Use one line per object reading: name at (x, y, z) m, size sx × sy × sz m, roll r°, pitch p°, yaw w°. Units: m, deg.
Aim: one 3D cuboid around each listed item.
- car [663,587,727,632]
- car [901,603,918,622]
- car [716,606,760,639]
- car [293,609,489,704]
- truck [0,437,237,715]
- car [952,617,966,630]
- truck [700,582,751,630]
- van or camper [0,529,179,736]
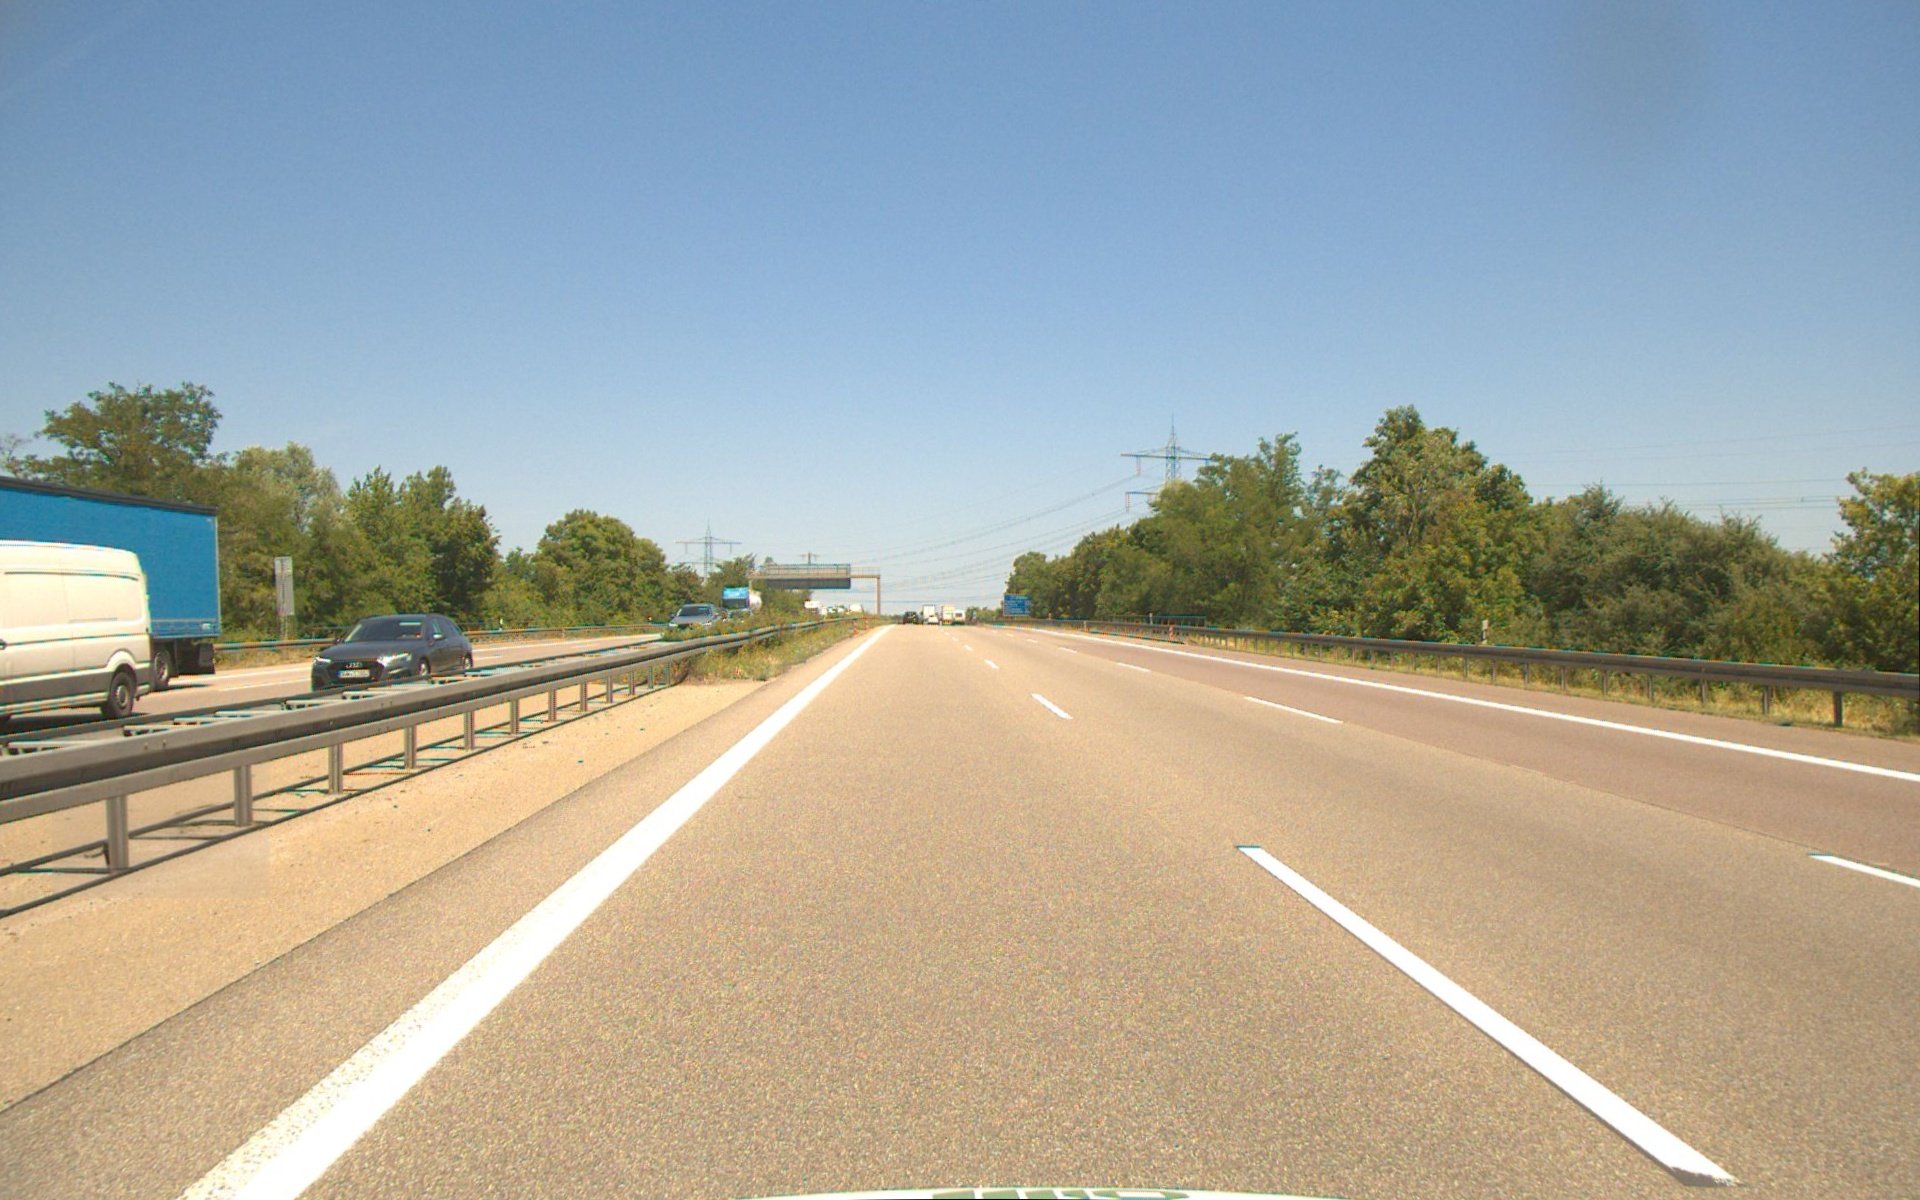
car at (-11.031, 0.374, 69.075) m, size 1.953 × 1.761 × 5.106 m, roll -1°, pitch 0°, yaw -2°
car at (-5.569, 1.404, 182.332) m, size 1.755 × 2.049 × 3.886 m, roll 1°, pitch -1°, yaw -1°
car at (-12.251, 1.213, 91.417) m, size 1.953 × 1.761 × 4.091 m, roll -1°, pitch 0°, yaw -2°
car at (-10.030, 0.947, 29.585) m, size 1.953 × 1.510 × 4.785 m, roll -1°, pitch 0°, yaw -2°
truck at (-18.177, -0.353, 29.977) m, size 3.161 × 4.802 × 16.851 m, roll -3°, pitch 0°, yaw -2°
car at (-0.193, 3.592, 255.294) m, size 1.953 × 2.049 × 3.998 m, roll -1°, pitch -1°, yaw -2°
truck at (-21.154, 0.626, 150.005) m, size 2.673 × 4.124 × 15.930 m, roll -1°, pitch -1°, yaw -1°
van or camper at (-13.186, 0.453, 22.534) m, size 1.954 × 2.610 × 7.031 m, roll -3°, pitch 0°, yaw -3°
